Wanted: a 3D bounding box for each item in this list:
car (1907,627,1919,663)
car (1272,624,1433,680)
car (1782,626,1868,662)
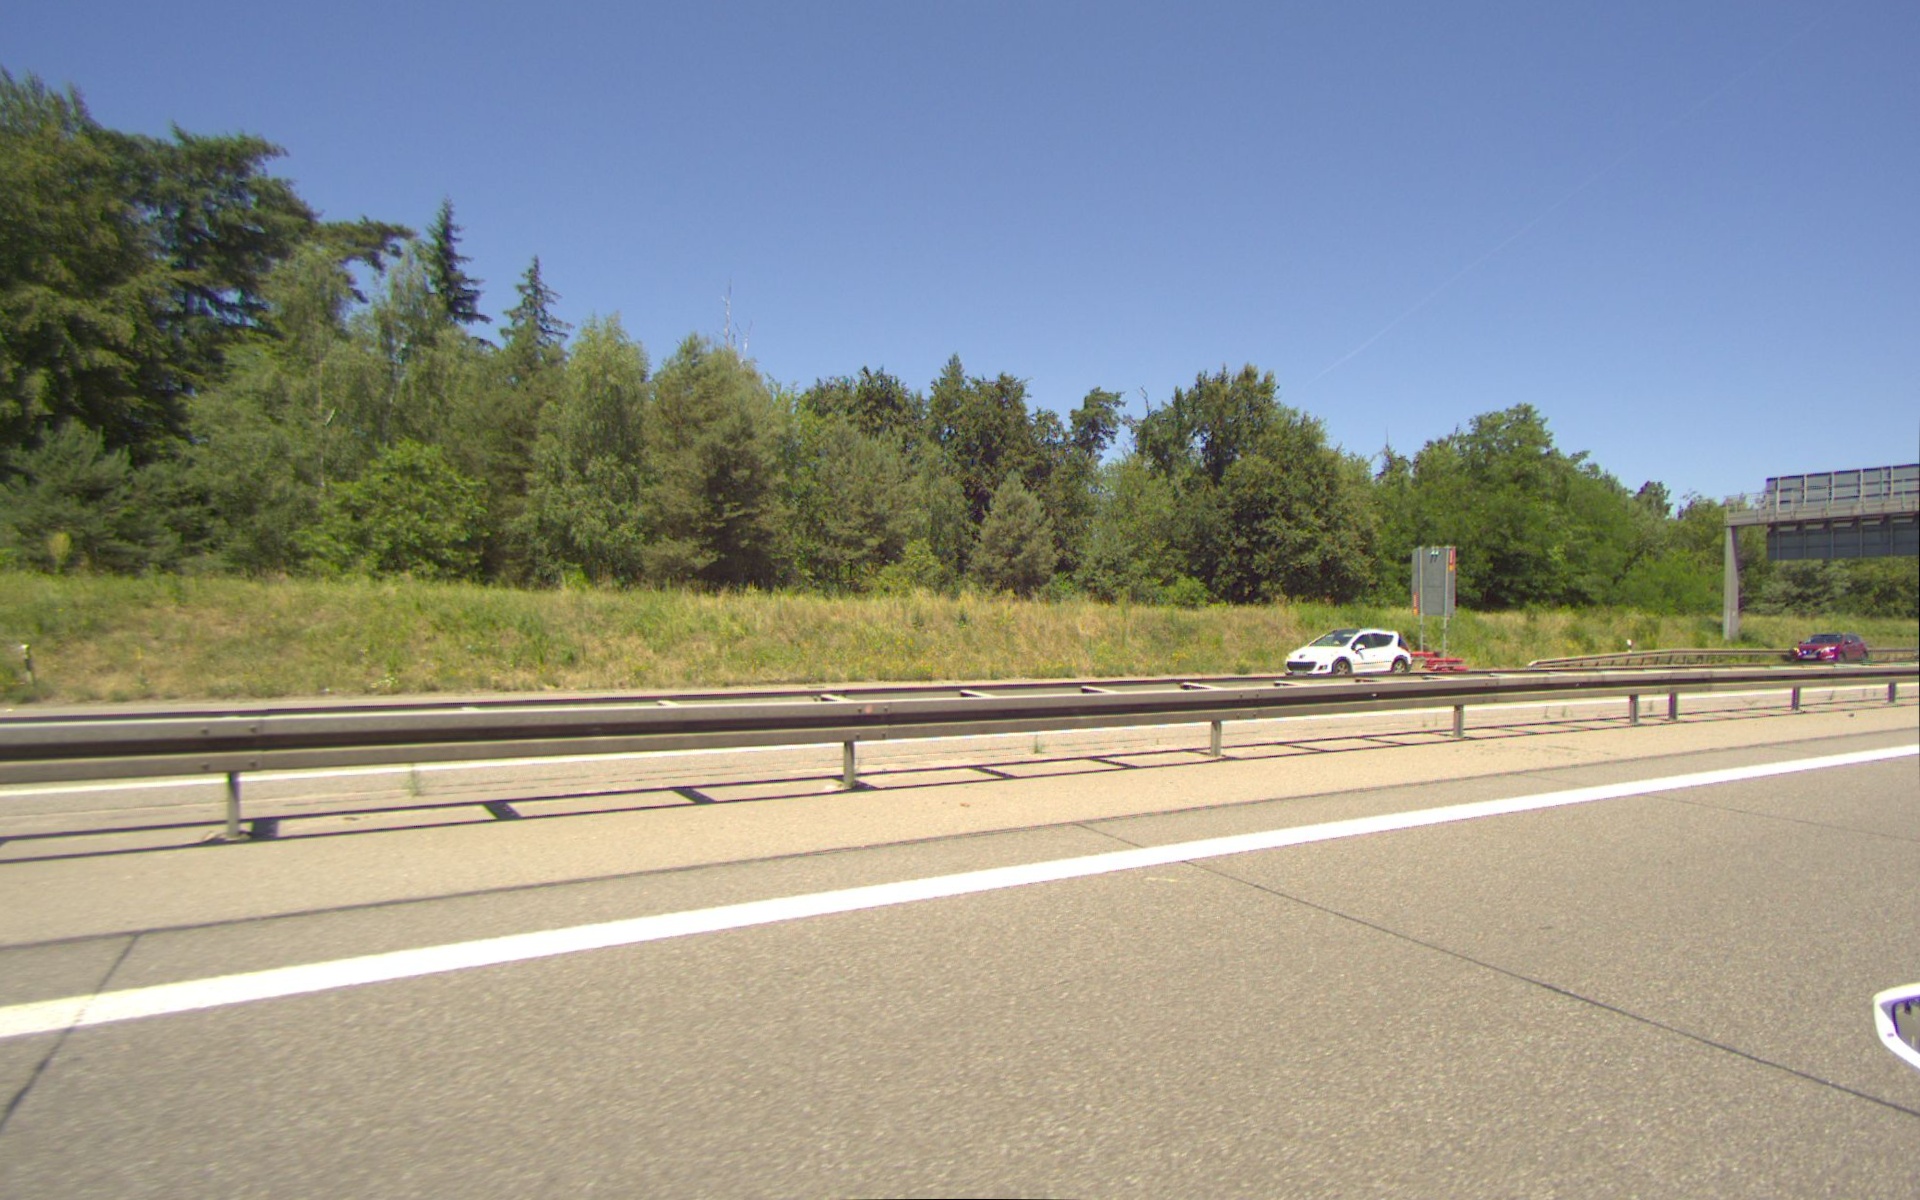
[{"bbox_3d":[42.671,1.894,43.197,4.509,1.518,1.639,1,-3,-31],"label":"car"},{"bbox_3d":[11.552,1.513,29.478,4.847,1.536,1.786,1,-3,-31],"label":"car"},{"bbox_3d":[40.639,2.070,47.155,4.558,1.611,1.639,1,-3,-30],"label":"car"}]
